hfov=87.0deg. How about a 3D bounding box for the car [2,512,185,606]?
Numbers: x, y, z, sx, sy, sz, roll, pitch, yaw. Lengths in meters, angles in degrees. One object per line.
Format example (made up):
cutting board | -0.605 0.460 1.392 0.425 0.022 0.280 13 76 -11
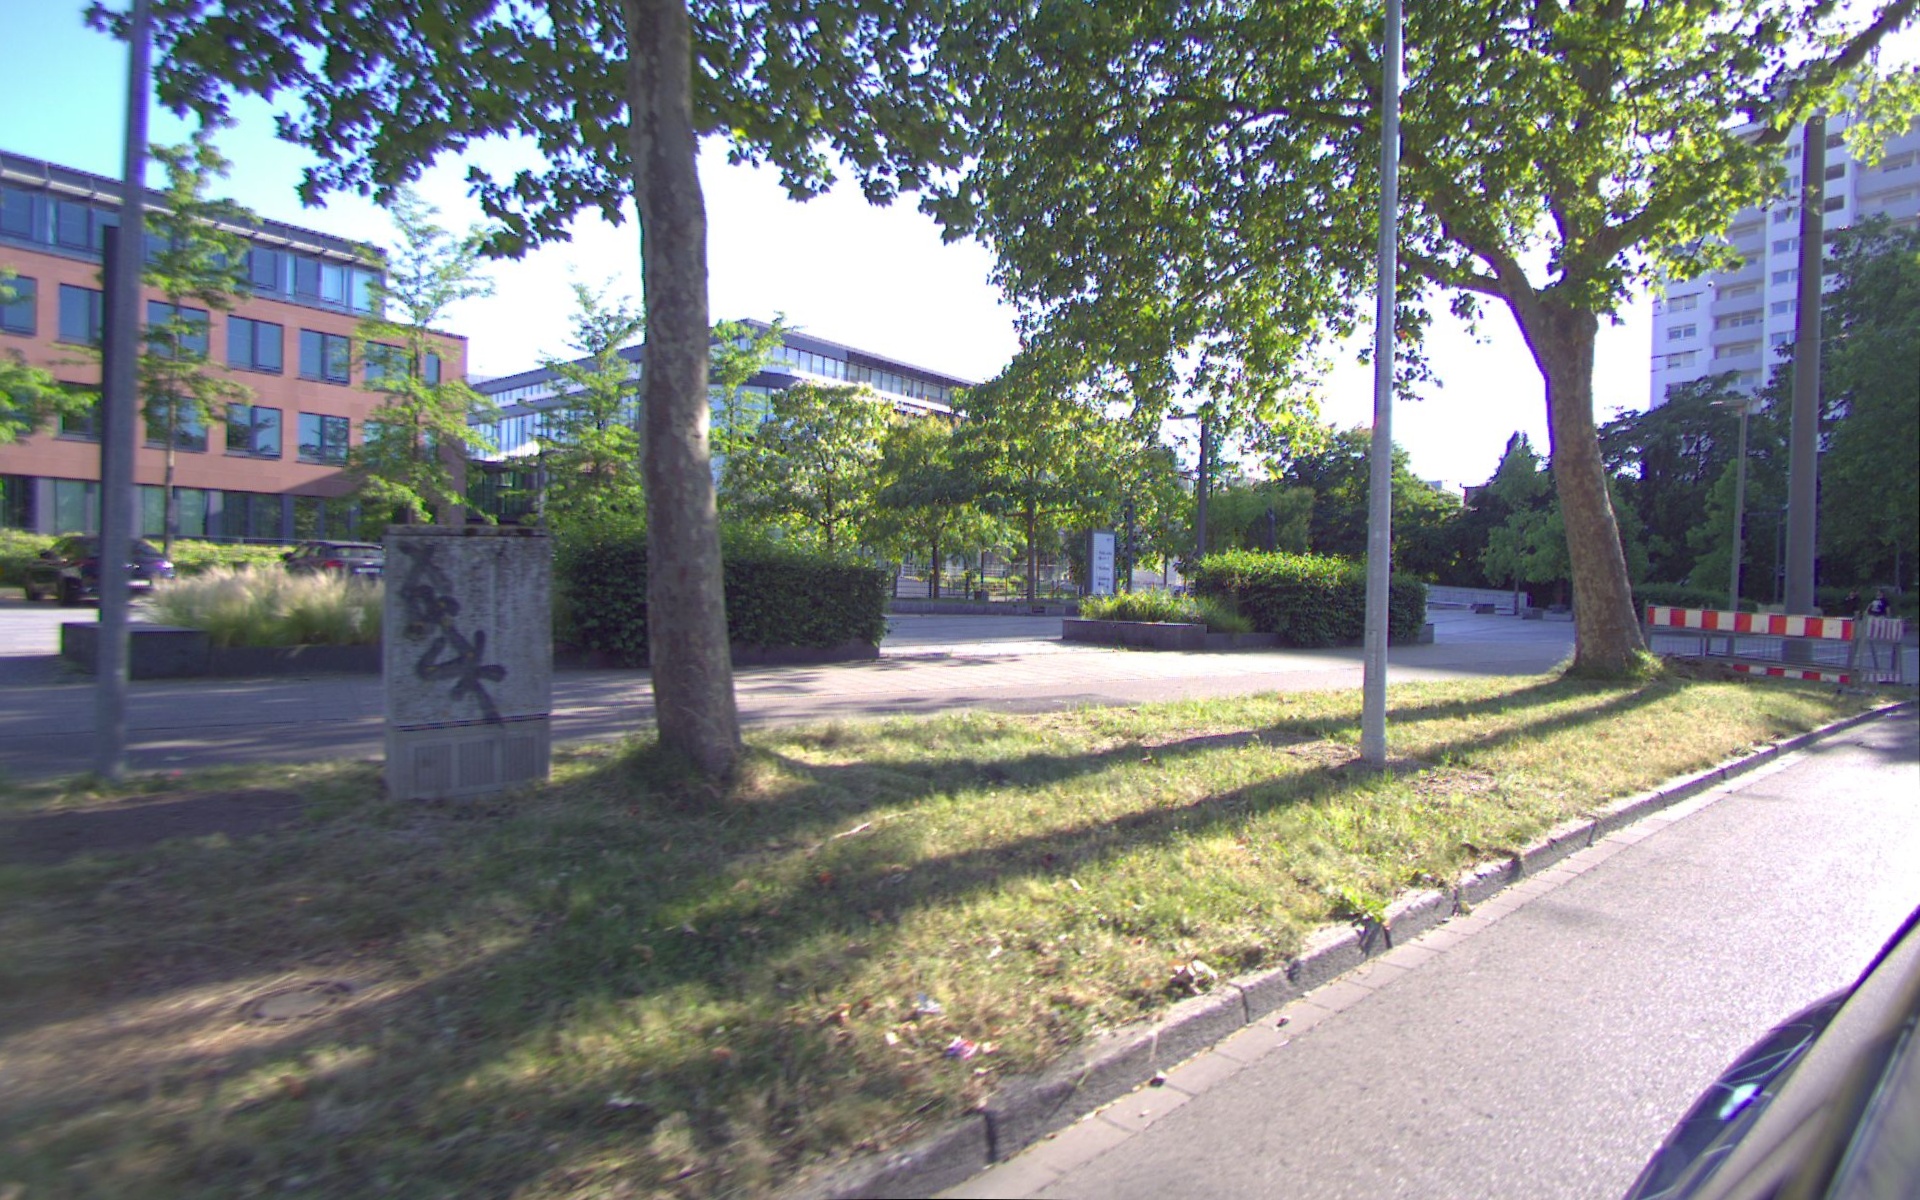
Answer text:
car | -17.997 -0.870 20.958 4.658 1.735 1.825 4 2 36

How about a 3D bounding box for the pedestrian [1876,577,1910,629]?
pedestrian | 30.954 0.102 33.575 0.725 1.677 0.630 1 2 -34

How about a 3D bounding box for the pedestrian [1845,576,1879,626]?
pedestrian | 30.589 0.023 34.321 0.768 1.677 0.652 1 2 -34

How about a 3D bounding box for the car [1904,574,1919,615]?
car | 62.008 -0.309 63.916 6.222 2.531 2.001 0 -1 -32

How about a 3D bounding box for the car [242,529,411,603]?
car | -15.790 -0.864 25.148 4.661 1.618 2.044 4 2 37

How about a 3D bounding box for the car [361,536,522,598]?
car | -13.759 -0.891 26.761 4.661 1.400 1.947 4 2 37

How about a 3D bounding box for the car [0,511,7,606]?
car | -20.039 -0.894 19.319 4.658 1.735 1.825 4 2 36
